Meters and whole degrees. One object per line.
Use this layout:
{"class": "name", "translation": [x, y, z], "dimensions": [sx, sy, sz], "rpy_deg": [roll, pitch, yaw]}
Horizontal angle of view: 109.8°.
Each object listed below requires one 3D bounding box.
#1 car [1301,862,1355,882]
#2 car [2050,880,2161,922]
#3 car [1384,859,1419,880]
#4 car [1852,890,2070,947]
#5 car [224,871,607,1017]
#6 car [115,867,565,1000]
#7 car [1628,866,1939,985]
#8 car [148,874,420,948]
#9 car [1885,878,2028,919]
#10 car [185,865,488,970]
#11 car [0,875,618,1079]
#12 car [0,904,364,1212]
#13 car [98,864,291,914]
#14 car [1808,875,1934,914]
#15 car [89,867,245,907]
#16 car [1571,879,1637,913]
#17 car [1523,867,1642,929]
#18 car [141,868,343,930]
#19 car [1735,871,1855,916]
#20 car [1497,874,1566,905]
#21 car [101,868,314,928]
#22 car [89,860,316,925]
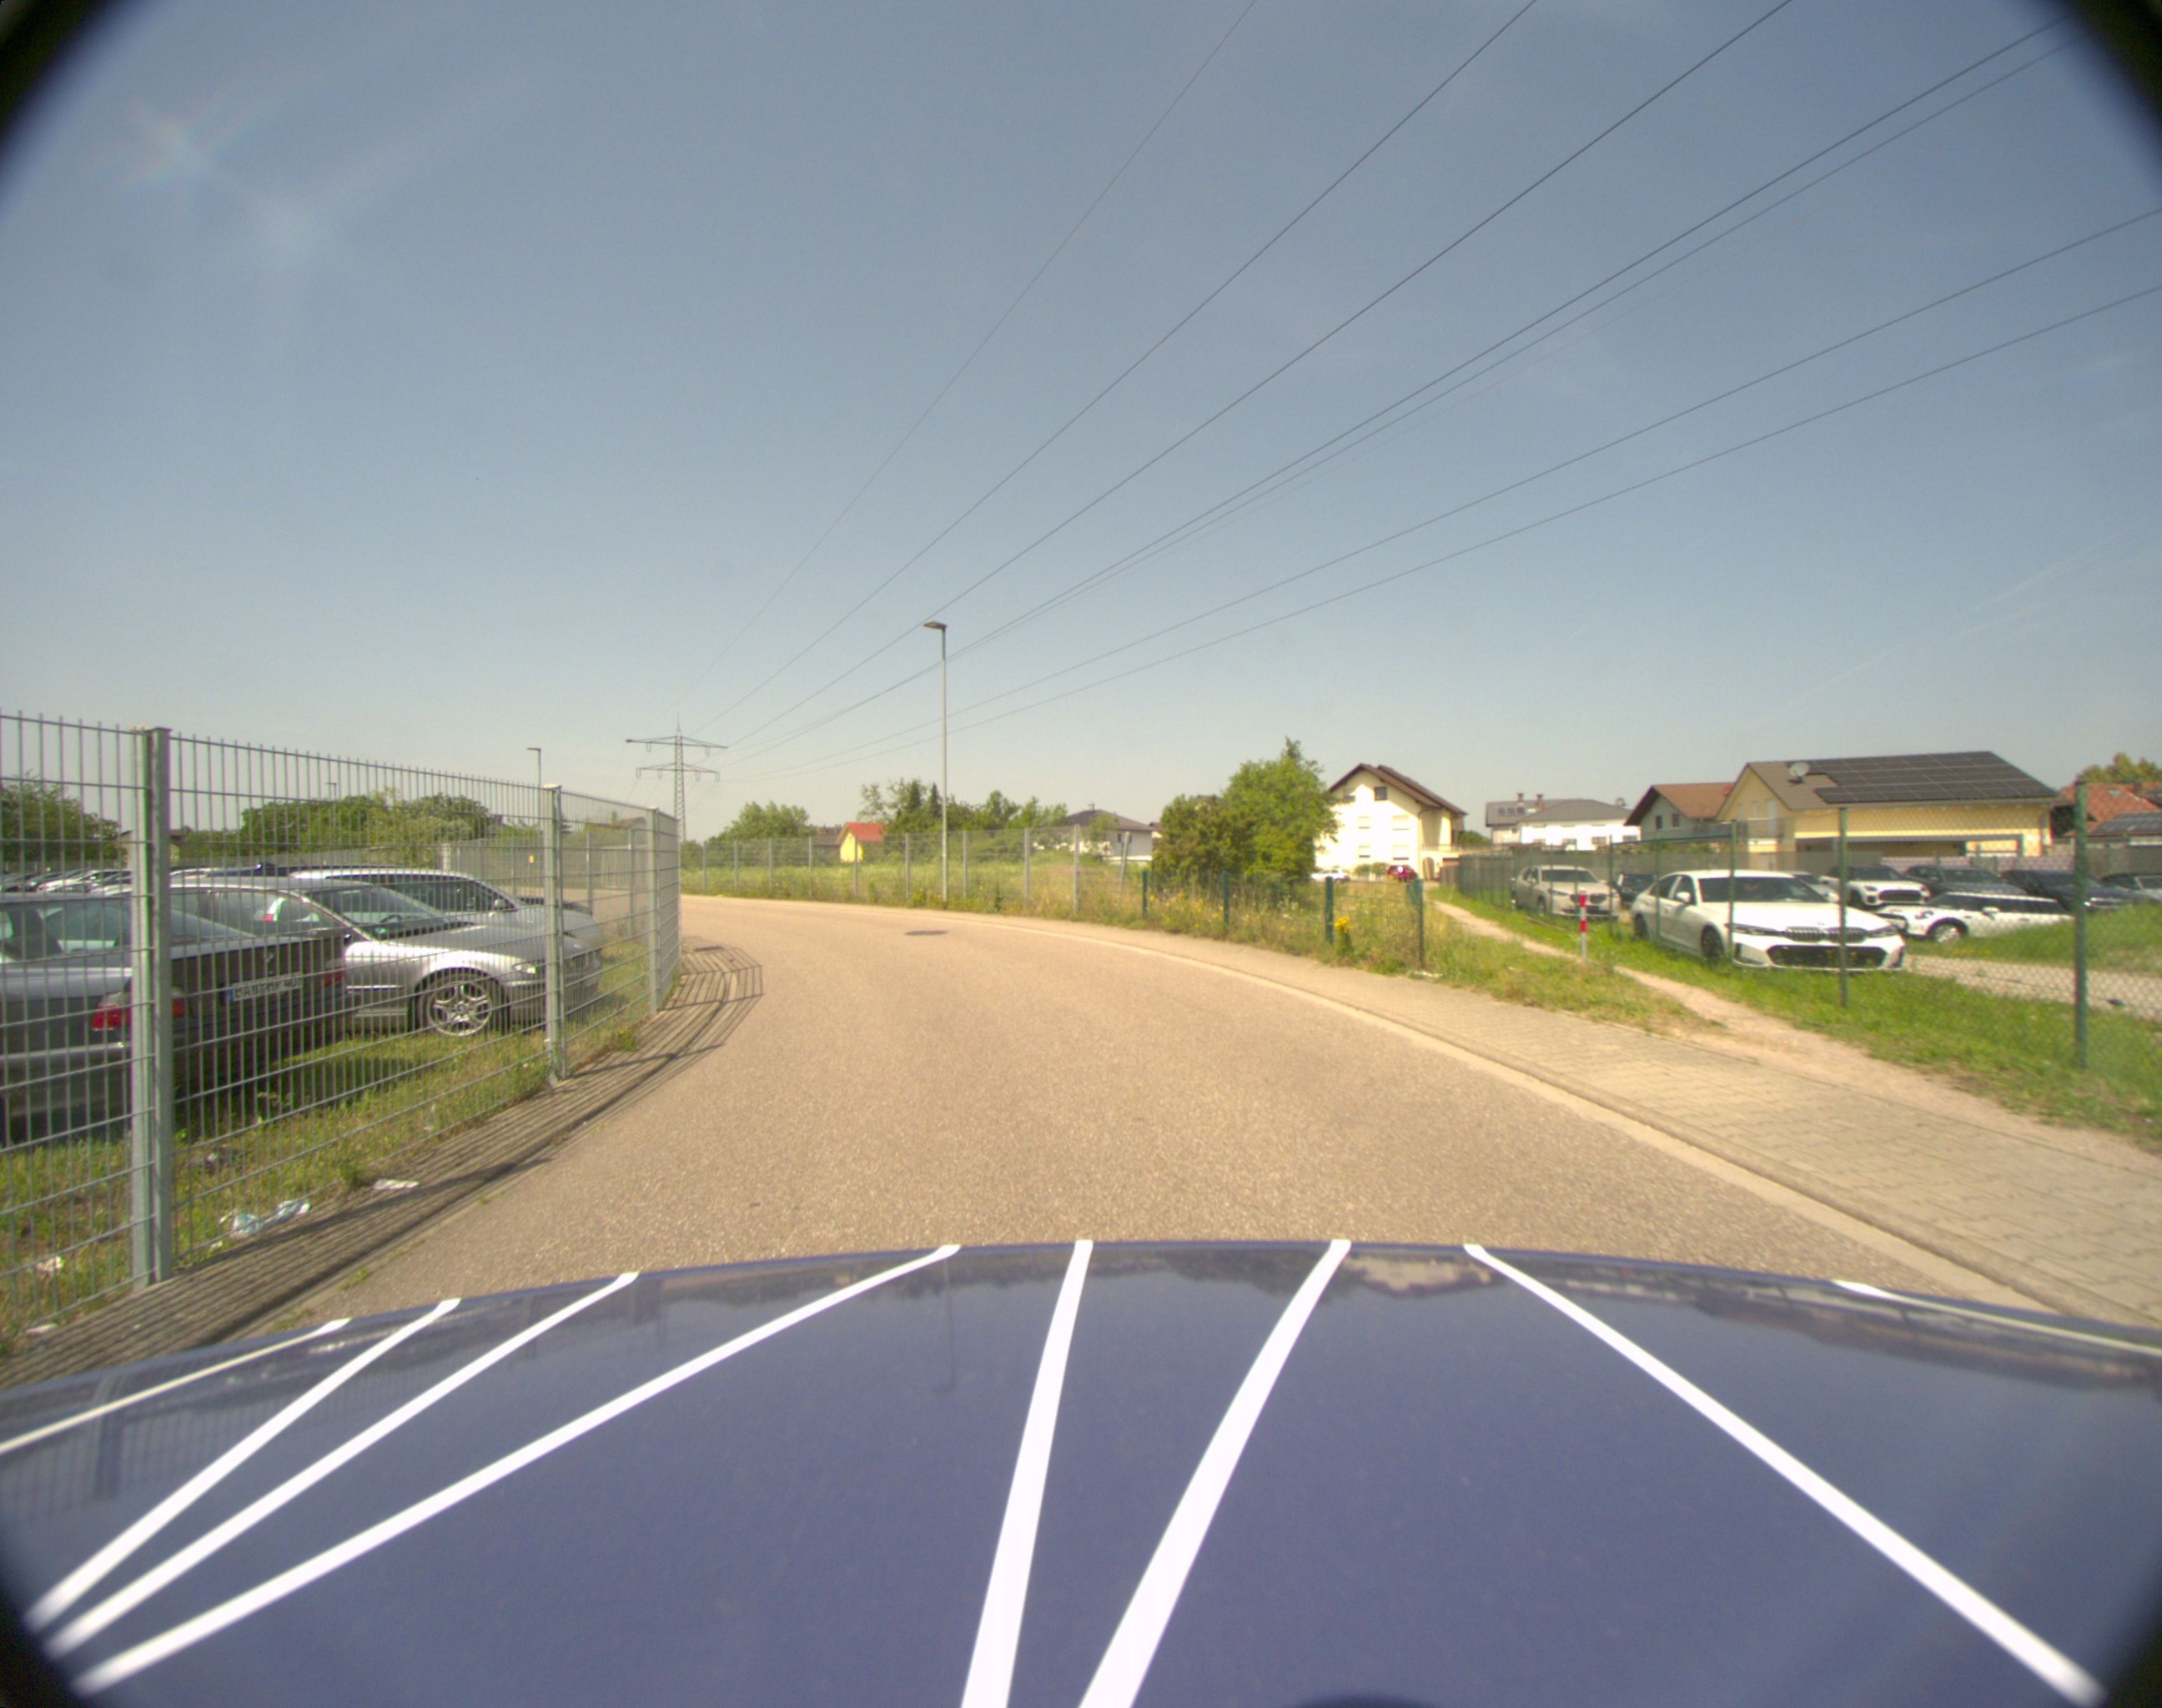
{"class": "car", "translation": [21.674, 1.544, 66.781], "dimensions": [4.074, 1.674, 1.869], "rpy_deg": [-1, 0, 37]}
{"class": "car", "translation": [36.915, 1.597, 26.588], "dimensions": [1.790, 1.229, 4.141], "rpy_deg": [0, 0, 21]}
{"class": "car", "translation": [28.250, 1.325, 66.818], "dimensions": [1.861, 1.718, 4.144], "rpy_deg": [0, 1, 37]}
{"class": "car", "translation": [23.178, 1.660, 20.185], "dimensions": [3.383, 1.307, 1.661], "rpy_deg": [0, 1, 21]}
{"class": "car", "translation": [-8.380, 0.984, 9.802], "dimensions": [1.632, 1.414, 3.483], "rpy_deg": [0, 0, 40]}
{"class": "car", "translation": [-10.685, 0.984, 11.357], "dimensions": [1.820, 1.466, 4.561], "rpy_deg": [0, 0, 40]}
{"class": "car", "translation": [10.096, 0.889, 11.470], "dimensions": [1.864, 1.299, 4.569], "rpy_deg": [0, 0, 21]}
{"class": "car", "translation": [-18.529, 1.235, 17.870], "dimensions": [1.718, 1.346, 4.205], "rpy_deg": [0, 1, 37]}
{"class": "car", "translation": [32.812, 1.622, 28.658], "dimensions": [1.790, 1.229, 4.141], "rpy_deg": [0, 0, 21]}
{"class": "car", "translation": [-12.921, 0.985, 13.374], "dimensions": [1.706, 1.493, 3.558], "rpy_deg": [0, 0, 37]}
{"class": "car", "translation": [-6.839, 0.942, 6.739], "dimensions": [4.361, 1.387, 1.614], "rpy_deg": [-1, 0, -16]}
{"class": "car", "translation": [-6.953, 1.047, 4.156], "dimensions": [4.208, 1.349, 1.615], "rpy_deg": [-1, 0, -8]}
{"class": "car", "translation": [-30.834, 1.143, 26.573], "dimensions": [1.633, 1.330, 4.184], "rpy_deg": [0, 3, 35]}
{"class": "car", "translation": [30.658, 1.527, 29.668], "dimensions": [1.790, 1.229, 4.141], "rpy_deg": [0, 0, 21]}
{"class": "car", "translation": [-39.834, 1.377, 33.214], "dimensions": [1.633, 1.330, 4.184], "rpy_deg": [0, 3, 35]}
{"class": "car", "translation": [22.150, 1.742, 32.292], "dimensions": [1.483, 1.239, 3.635], "rpy_deg": [-1, 0, 21]}
{"class": "car", "translation": [14.848, 1.209, 22.799], "dimensions": [2.037, 1.553, 4.444], "rpy_deg": [0, 0, 21]}
{"class": "car", "translation": [-21.351, 1.077, 19.444], "dimensions": [1.523, 1.346, 3.285], "rpy_deg": [0, 1, 35]}
{"class": "car", "translation": [28.289, 1.514, 30.307], "dimensions": [2.037, 1.527, 4.141], "rpy_deg": [0, 0, 21]}
{"class": "car", "translation": [18.997, 1.471, 32.225], "dimensions": [1.863, 1.101, 4.010], "rpy_deg": [0, 0, 21]}
{"class": "car", "translation": [-23.590, 1.123, 20.639], "dimensions": [1.735, 1.346, 3.682], "rpy_deg": [0, 1, 38]}
{"class": "car", "translation": [-25.811, 1.052, 22.485], "dimensions": [1.633, 1.466, 4.184], "rpy_deg": [0, 3, 35]}
